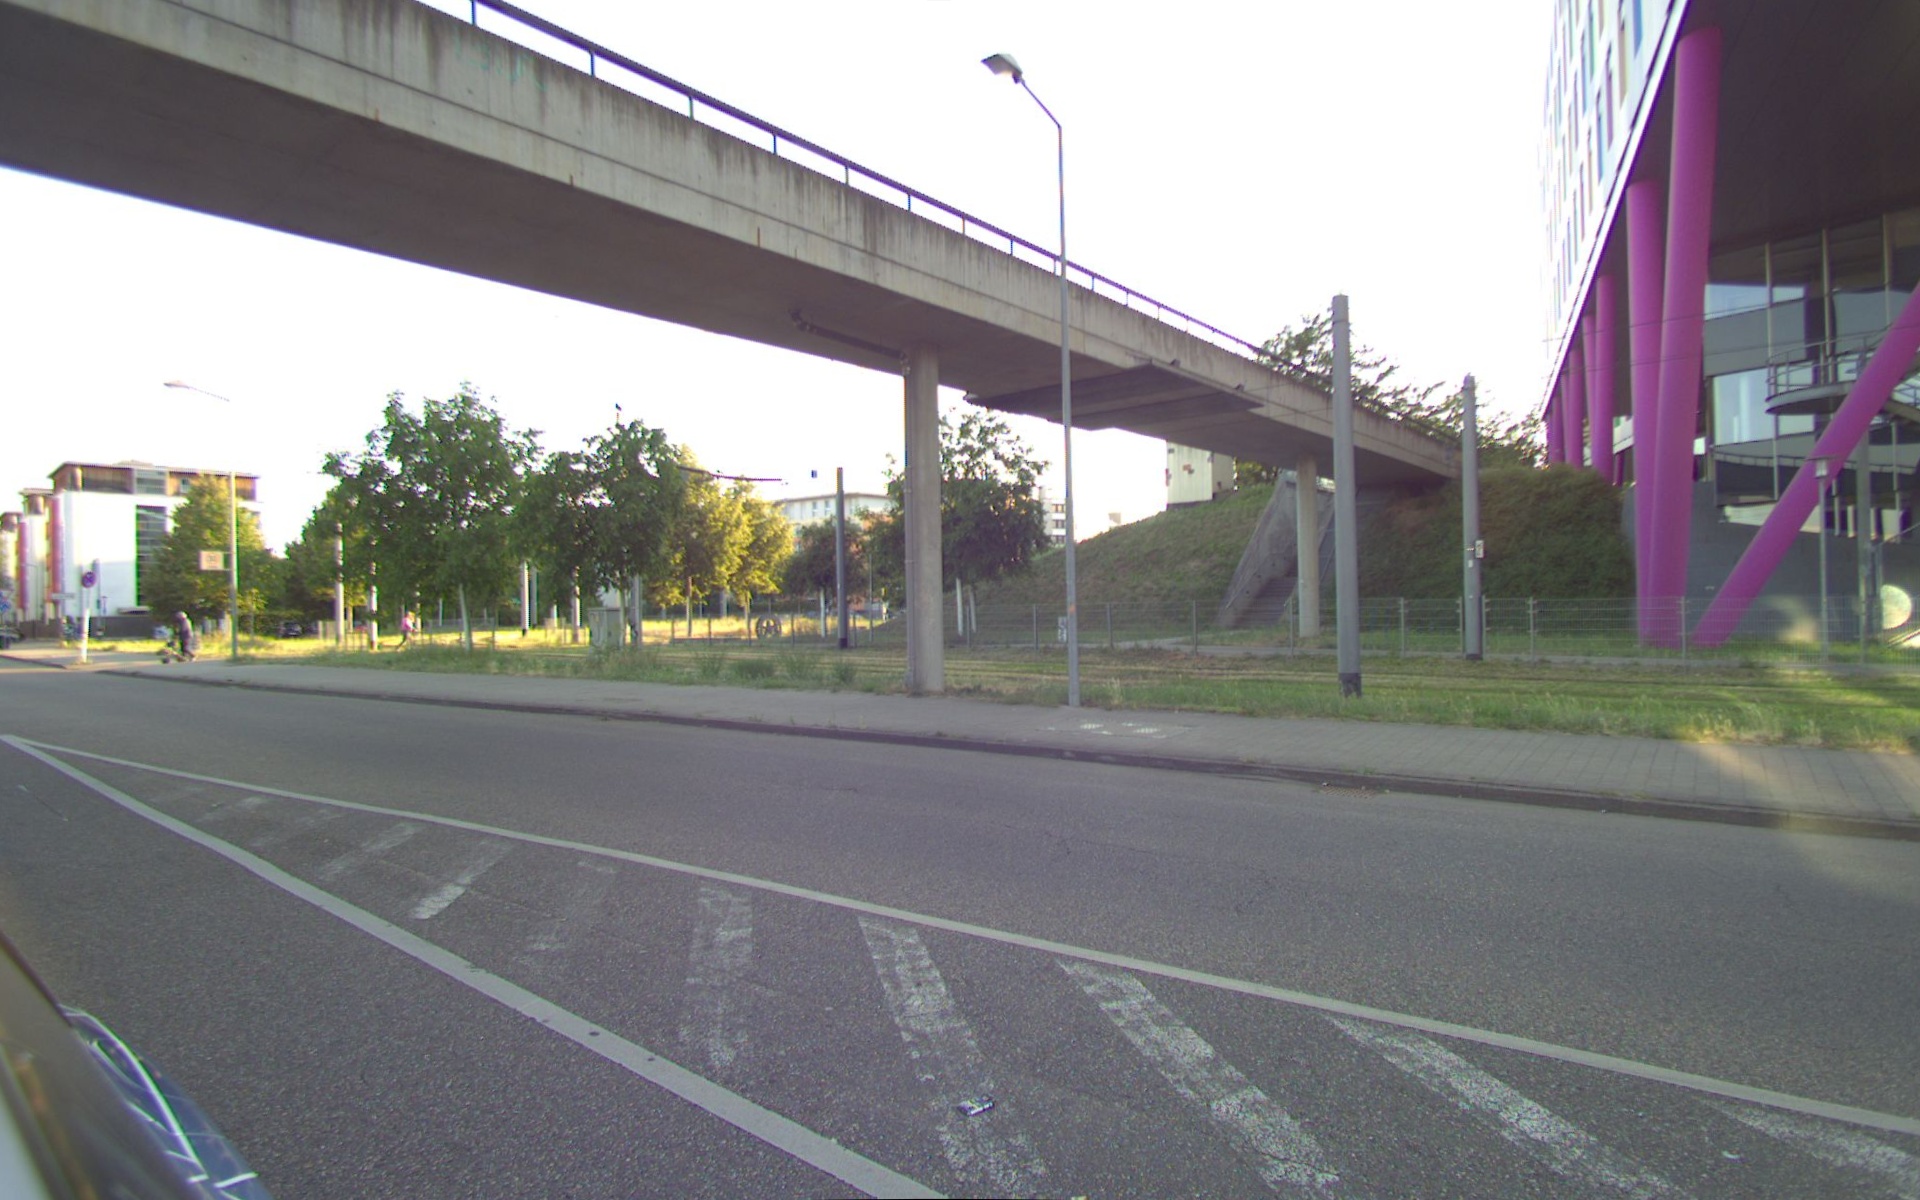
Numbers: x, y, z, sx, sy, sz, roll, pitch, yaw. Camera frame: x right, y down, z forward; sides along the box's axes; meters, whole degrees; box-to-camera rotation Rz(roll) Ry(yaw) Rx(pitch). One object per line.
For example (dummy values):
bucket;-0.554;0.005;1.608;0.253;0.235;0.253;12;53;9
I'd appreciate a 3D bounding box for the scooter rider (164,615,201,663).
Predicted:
scooter rider;-26.050;1.296;33.908;0.885;1.589;0.712;0;-1;-44

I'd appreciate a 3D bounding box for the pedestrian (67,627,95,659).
pedestrian;-58.310;2.835;67.150;1.072;2.029;1.143;-1;0;-21

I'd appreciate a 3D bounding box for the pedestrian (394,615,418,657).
pedestrian;-21.814;1.420;39.827;0.767;1.623;0.417;-1;-1;-38

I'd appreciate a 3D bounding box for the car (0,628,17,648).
car;-80.770;3.173;83.396;1.839;1.571;4.330;-1;0;42

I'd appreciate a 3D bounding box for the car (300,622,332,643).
car;-55.382;2.780;87.047;1.843;1.734;3.851;-1;-1;-40

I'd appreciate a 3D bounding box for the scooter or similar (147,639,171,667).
scooter or similar;-26.488;1.741;33.469;0.545;0.902;0.723;1;-1;-44

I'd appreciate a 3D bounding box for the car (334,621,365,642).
car;-53.583;2.756;88.771;1.842;1.734;3.852;-1;-1;-38

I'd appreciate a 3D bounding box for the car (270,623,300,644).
car;-57.087;2.809;85.548;1.842;1.734;3.853;-1;-1;-38
